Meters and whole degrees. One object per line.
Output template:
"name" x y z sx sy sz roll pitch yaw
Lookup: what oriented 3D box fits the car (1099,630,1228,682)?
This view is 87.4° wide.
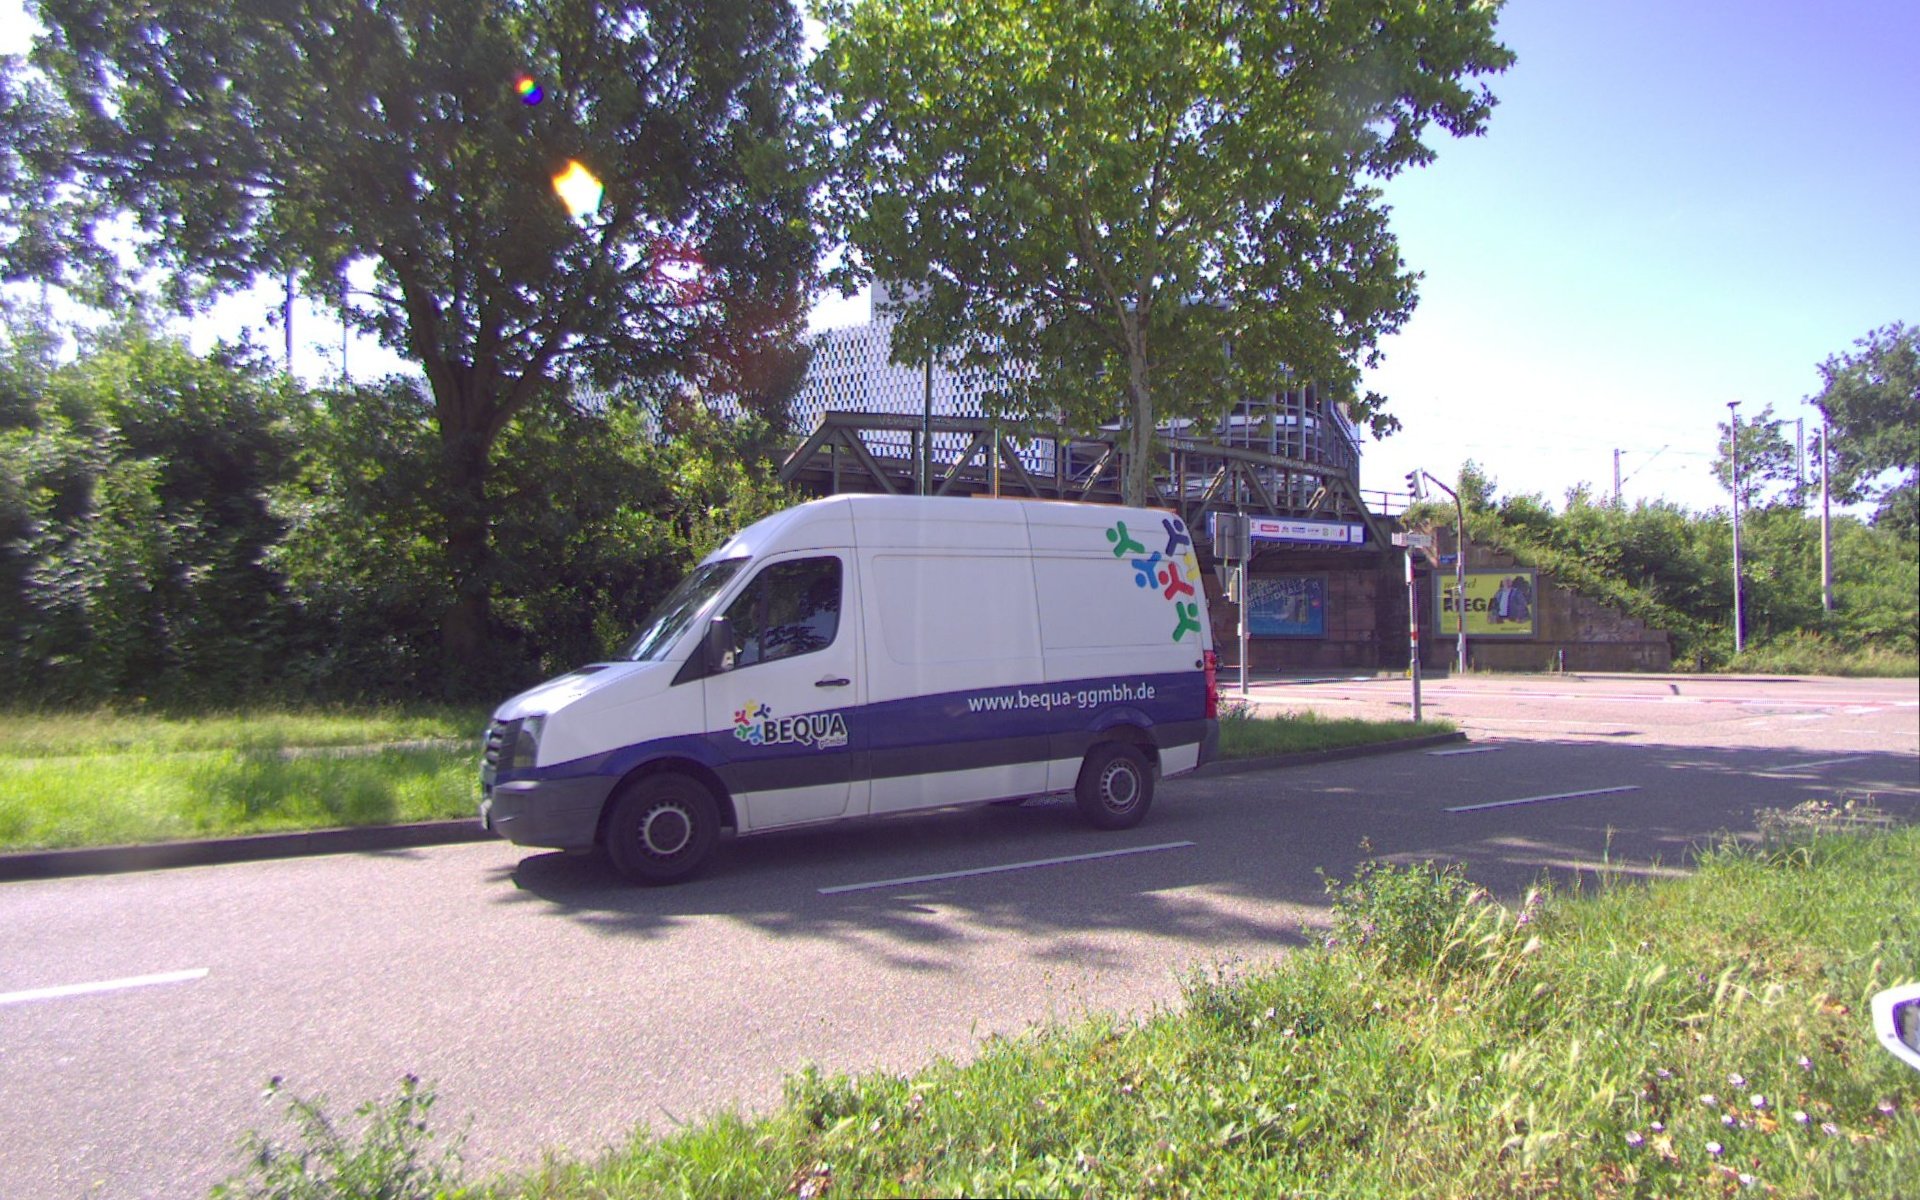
"car" 6.935 1.893 34.213 3.926 1.668 1.902 -2 -2 27

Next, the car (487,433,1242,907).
"car" -0.535 0.496 8.045 5.719 2.697 1.984 1 -3 -30
